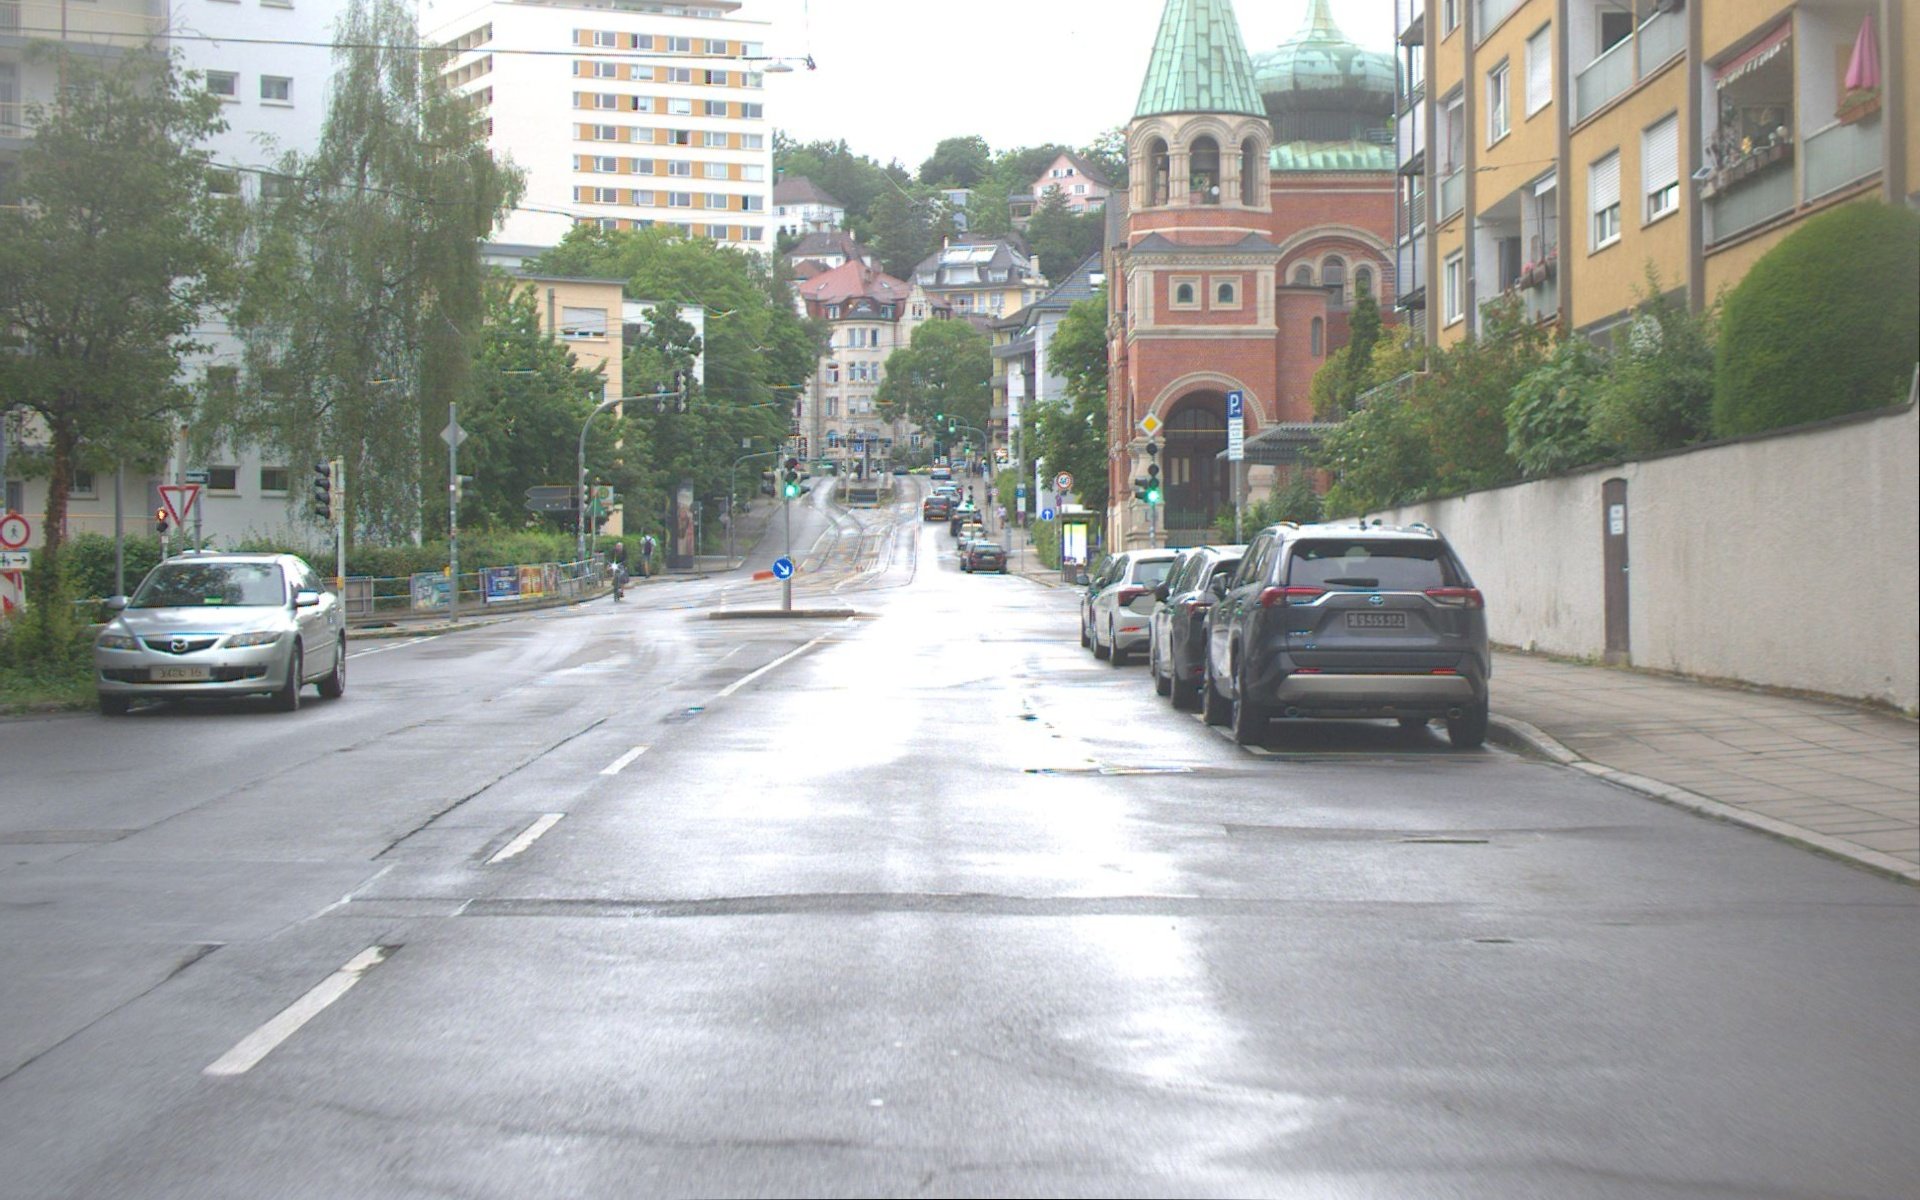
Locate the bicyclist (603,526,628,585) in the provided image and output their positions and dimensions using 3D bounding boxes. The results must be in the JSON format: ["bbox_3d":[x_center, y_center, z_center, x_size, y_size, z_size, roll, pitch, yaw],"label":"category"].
[{"bbox_3d":[-9.728,-1.248,97.001,0.677,1.655,0.650,0,0,-3],"label":"bicyclist"}]

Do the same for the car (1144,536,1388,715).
[{"bbox_3d":[2.788,0.188,32.179,1.817,1.517,4.076,1,1,-1],"label":"car"}]

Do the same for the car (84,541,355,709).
[{"bbox_3d":[-6.848,0.198,32.174,1.709,1.445,4.295,-1,1,-2],"label":"car"}]

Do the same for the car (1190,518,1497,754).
[{"bbox_3d":[2.880,0.215,26.617,1.817,1.647,4.076,1,1,-1],"label":"car"}]

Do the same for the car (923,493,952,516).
[{"bbox_3d":[-1.526,-6.470,234.137,1.908,1.505,4.000,1,1,-1],"label":"car"}]

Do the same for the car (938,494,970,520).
[{"bbox_3d":[-0.374,-5.782,213.922,1.908,1.505,4.000,1,1,-1],"label":"car"}]

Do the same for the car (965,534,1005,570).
[{"bbox_3d":[1.192,-2.258,161.360,1.732,1.648,4.000,0,1,2],"label":"car"}]

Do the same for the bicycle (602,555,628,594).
[{"bbox_3d":[-9.732,-0.715,97.022,0.677,1.104,1.800,0,0,-4],"label":"bicycle"}]

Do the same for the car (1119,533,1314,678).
[{"bbox_3d":[2.869,0.023,39.238,1.817,1.517,4.076,1,1,-1],"label":"car"}]

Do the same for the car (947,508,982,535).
[{"bbox_3d":[0.273,-4.495,197.832,1.892,1.505,4.000,1,1,-1],"label":"car"}]

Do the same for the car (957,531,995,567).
[{"bbox_3d":[0.831,-2.540,172.703,1.851,1.760,4.000,1,1,1],"label":"car"}]

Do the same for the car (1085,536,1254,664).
[{"bbox_3d":[2.640,-0.035,44.190,1.817,1.517,4.076,1,1,-1],"label":"car"}]
